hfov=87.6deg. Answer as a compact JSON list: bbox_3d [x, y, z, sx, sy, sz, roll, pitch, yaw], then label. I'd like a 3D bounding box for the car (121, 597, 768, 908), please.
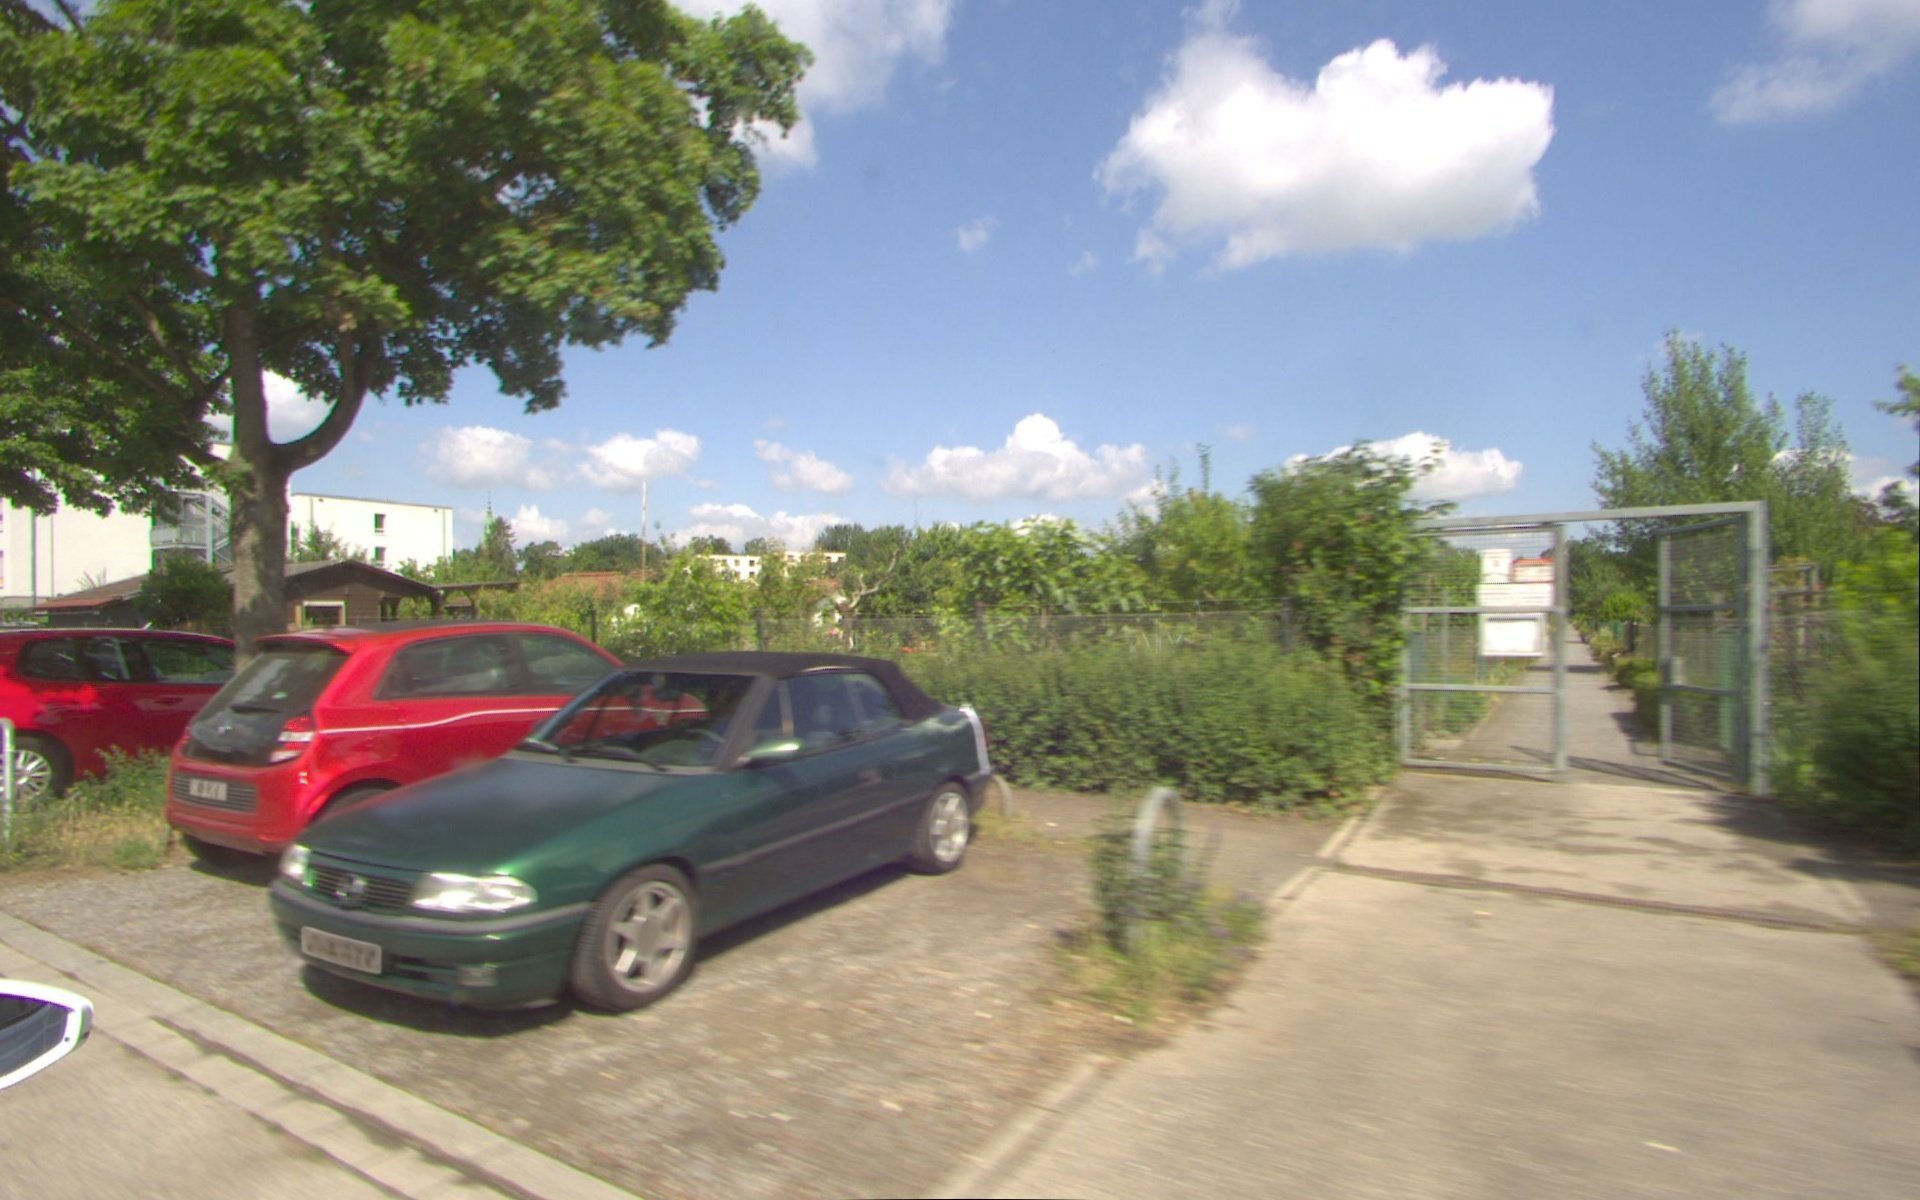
[{"bbox_3d":[-3.361,0.879,7.242,1.843,1.593,3.759,-1,-3,31],"label":"car"}]

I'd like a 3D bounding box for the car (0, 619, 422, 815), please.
[{"bbox_3d":[-7.554,0.994,9.457,1.830,1.538,3.977,-2,-3,35],"label":"car"}]

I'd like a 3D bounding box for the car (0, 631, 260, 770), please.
[{"bbox_3d":[-10.508,1.082,11.265,1.932,1.441,3.901,-2,-3,35],"label":"car"}]

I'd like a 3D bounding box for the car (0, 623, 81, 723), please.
[{"bbox_3d":[-16.065,1.103,14.973,1.932,1.530,4.055,-2,-3,35],"label":"car"}]

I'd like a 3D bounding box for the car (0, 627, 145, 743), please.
[{"bbox_3d":[-13.252,1.080,12.764,1.842,1.473,4.063,-1,-3,30],"label":"car"}]

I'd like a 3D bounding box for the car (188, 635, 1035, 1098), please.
[{"bbox_3d":[-1.297,0.942,5.472,1.879,1.446,4.237,-1,-3,28],"label":"car"}]
